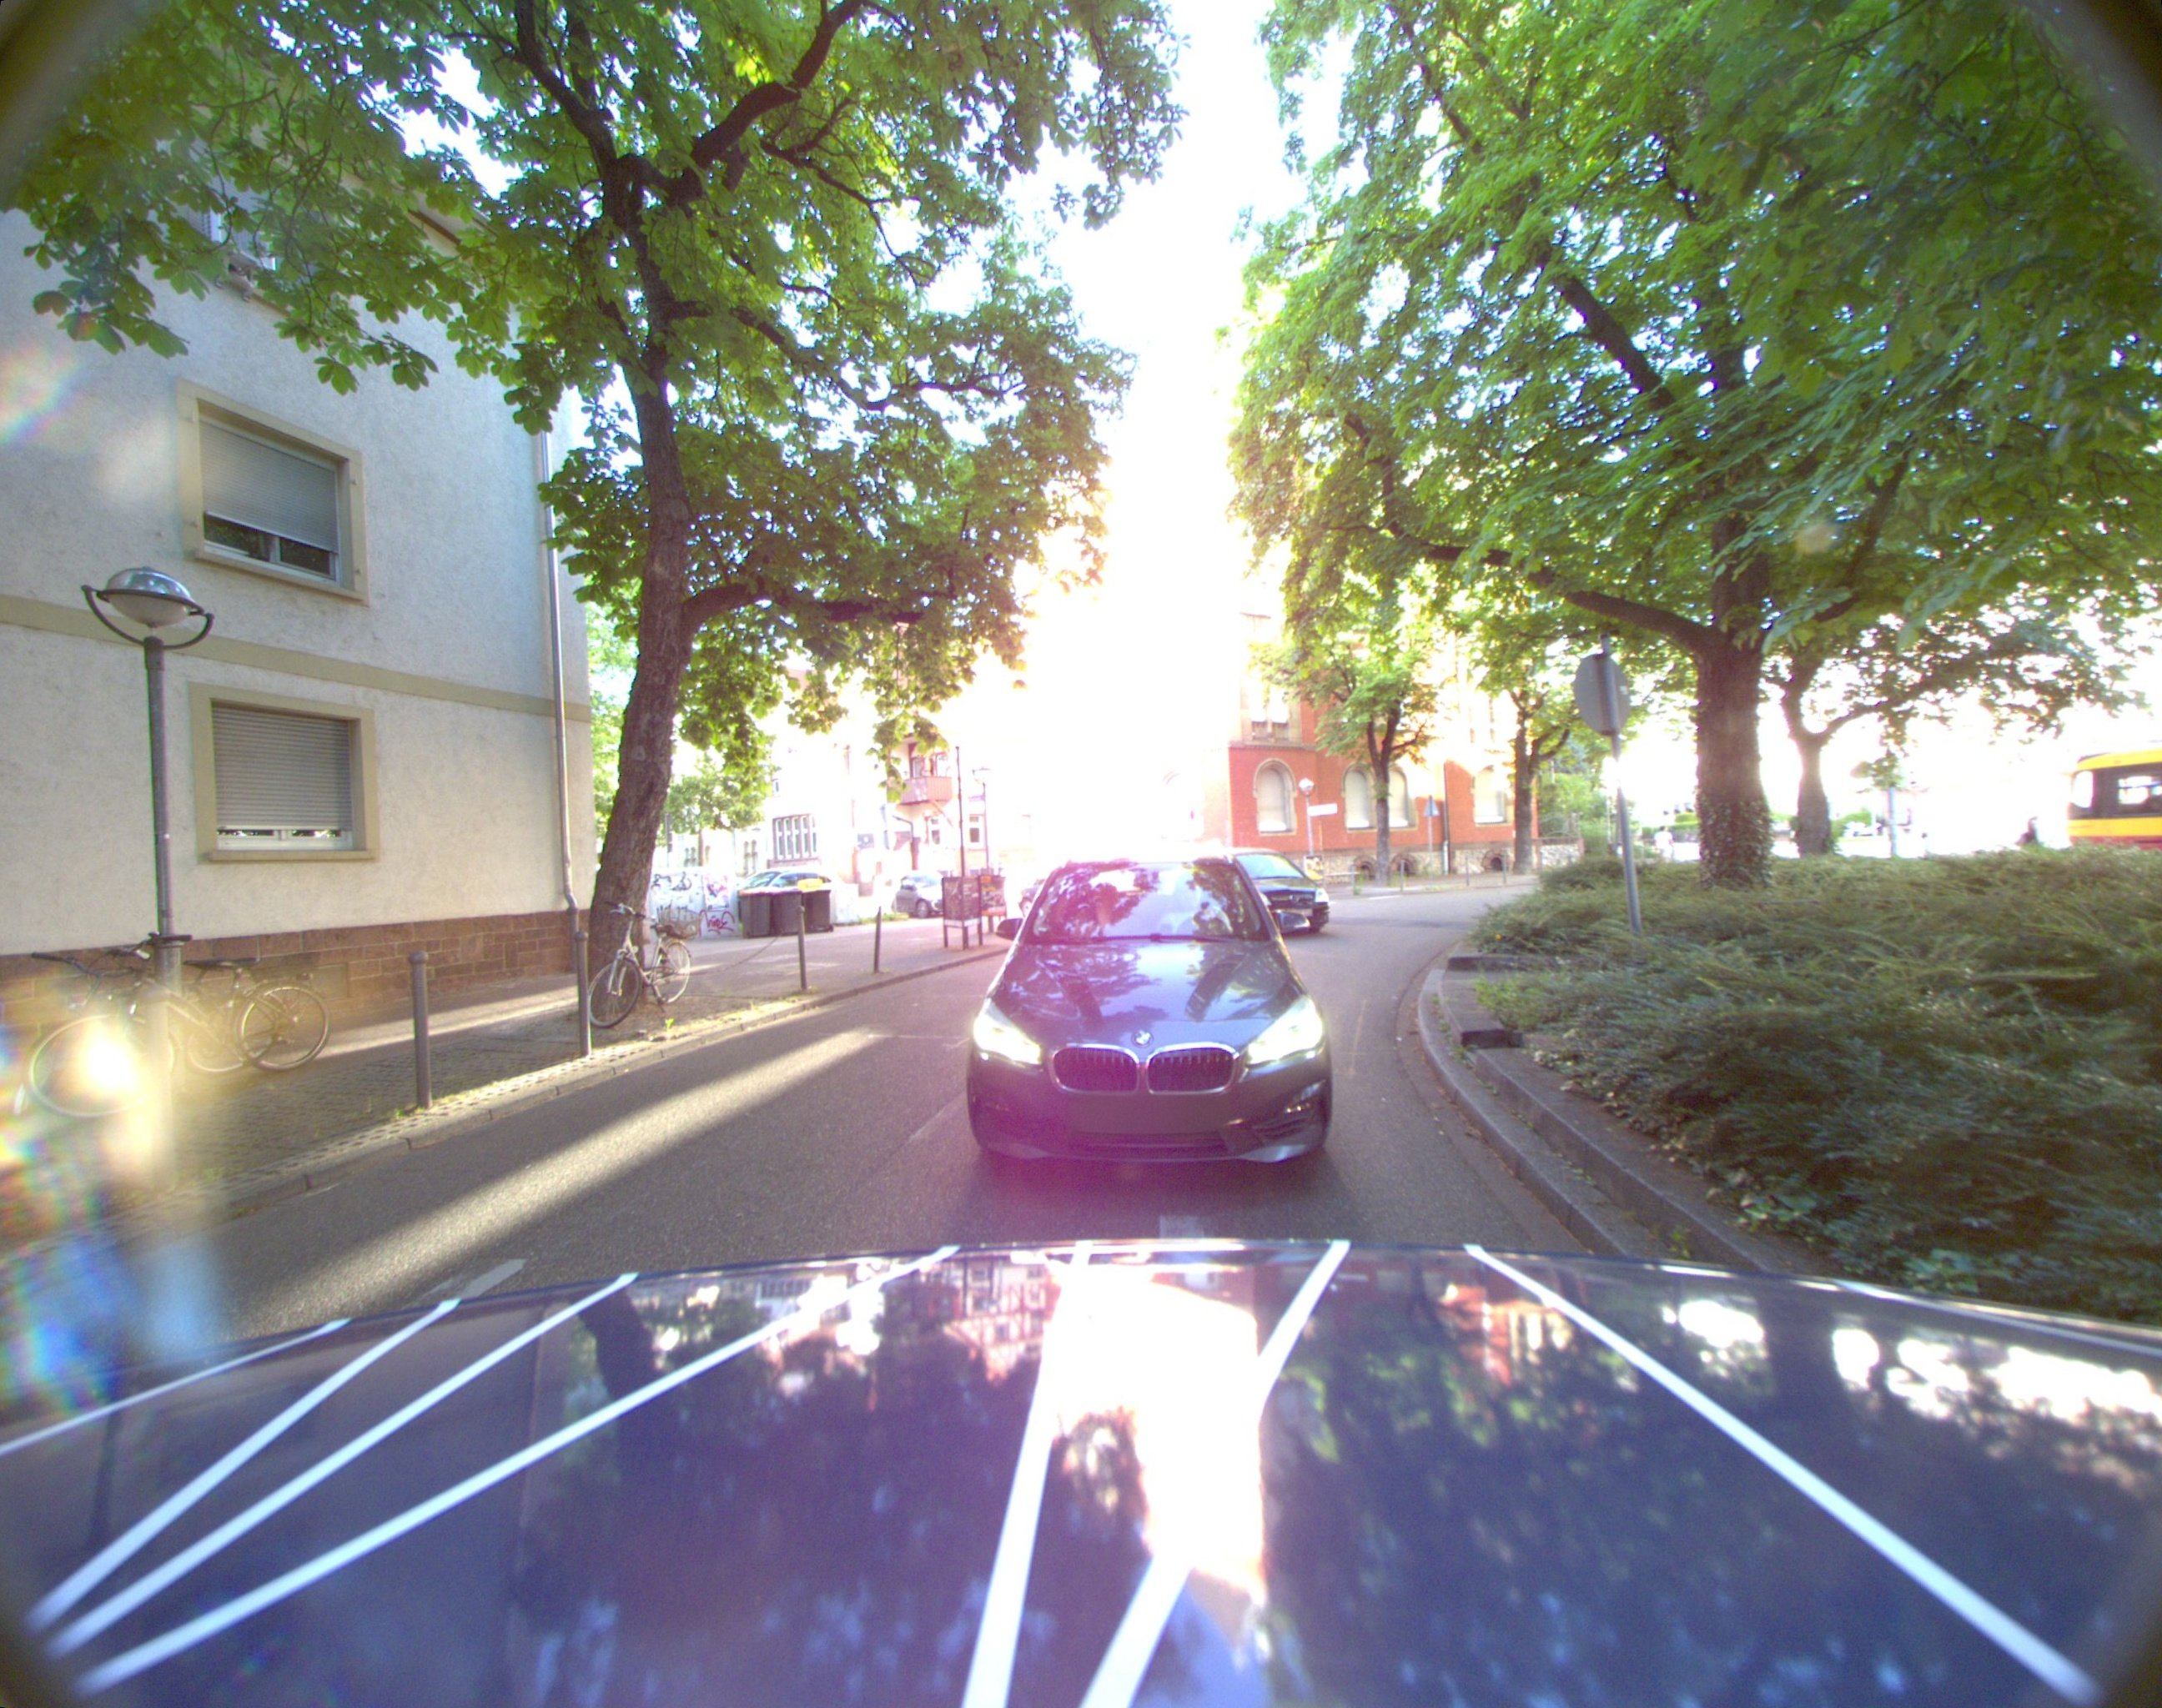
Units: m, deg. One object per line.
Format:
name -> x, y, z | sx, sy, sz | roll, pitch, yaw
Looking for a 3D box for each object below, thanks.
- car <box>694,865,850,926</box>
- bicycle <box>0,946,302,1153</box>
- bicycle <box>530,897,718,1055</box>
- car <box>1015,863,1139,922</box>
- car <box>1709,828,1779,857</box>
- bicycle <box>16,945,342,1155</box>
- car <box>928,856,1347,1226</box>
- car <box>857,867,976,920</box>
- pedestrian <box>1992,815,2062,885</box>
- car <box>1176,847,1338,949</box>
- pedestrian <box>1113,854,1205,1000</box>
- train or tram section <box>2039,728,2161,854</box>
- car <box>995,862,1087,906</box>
car -> -8.811, 1.149, 21.940 | 1.672, 1.417, 3.811 | -3, 0, 36
bicycle -> -6.760, 1.327, 5.570 | 0.334, 1.087, 1.636 | -3, 0, 1
bicycle -> -4.605, 1.160, 7.856 | 0.767, 1.297, 1.903 | -3, 0, -1
car -> -0.182, 1.044, 20.624 | 1.475, 1.381, 3.393 | -5, 0, -39
car -> 35.339, -0.614, 40.628 | 1.733, 1.409, 4.006 | -3, 0, 25
bicycle -> -6.370, 1.313, 5.515 | 0.334, 1.087, 1.636 | -3, 0, 1
car -> 0.459, 0.848, 5.481 | 1.792, 1.569, 4.262 | -2, 0, 6
car -> -5.597, 1.337, 25.602 | 4.041, 1.543, 1.699 | -3, 1, 39
pedestrian -> 23.114, -0.087, 18.569 | 0.905, 1.625, 0.724 | -5, 0, -19
car -> 3.220, 0.755, 14.678 | 1.681, 1.619, 3.685 | -3, 0, -10
pedestrian -> 0.915, 0.821, 8.800 | 0.944, 1.583, 0.643 | -3, 0, 8
train or tram section -> 30.930, -1.805, 18.510 | 2.768, 3.536, 12.697 | -3, 0, 18
car -> -1.534, 1.112, 28.671 | 3.207, 1.530, 1.495 | -2, 0, 38
